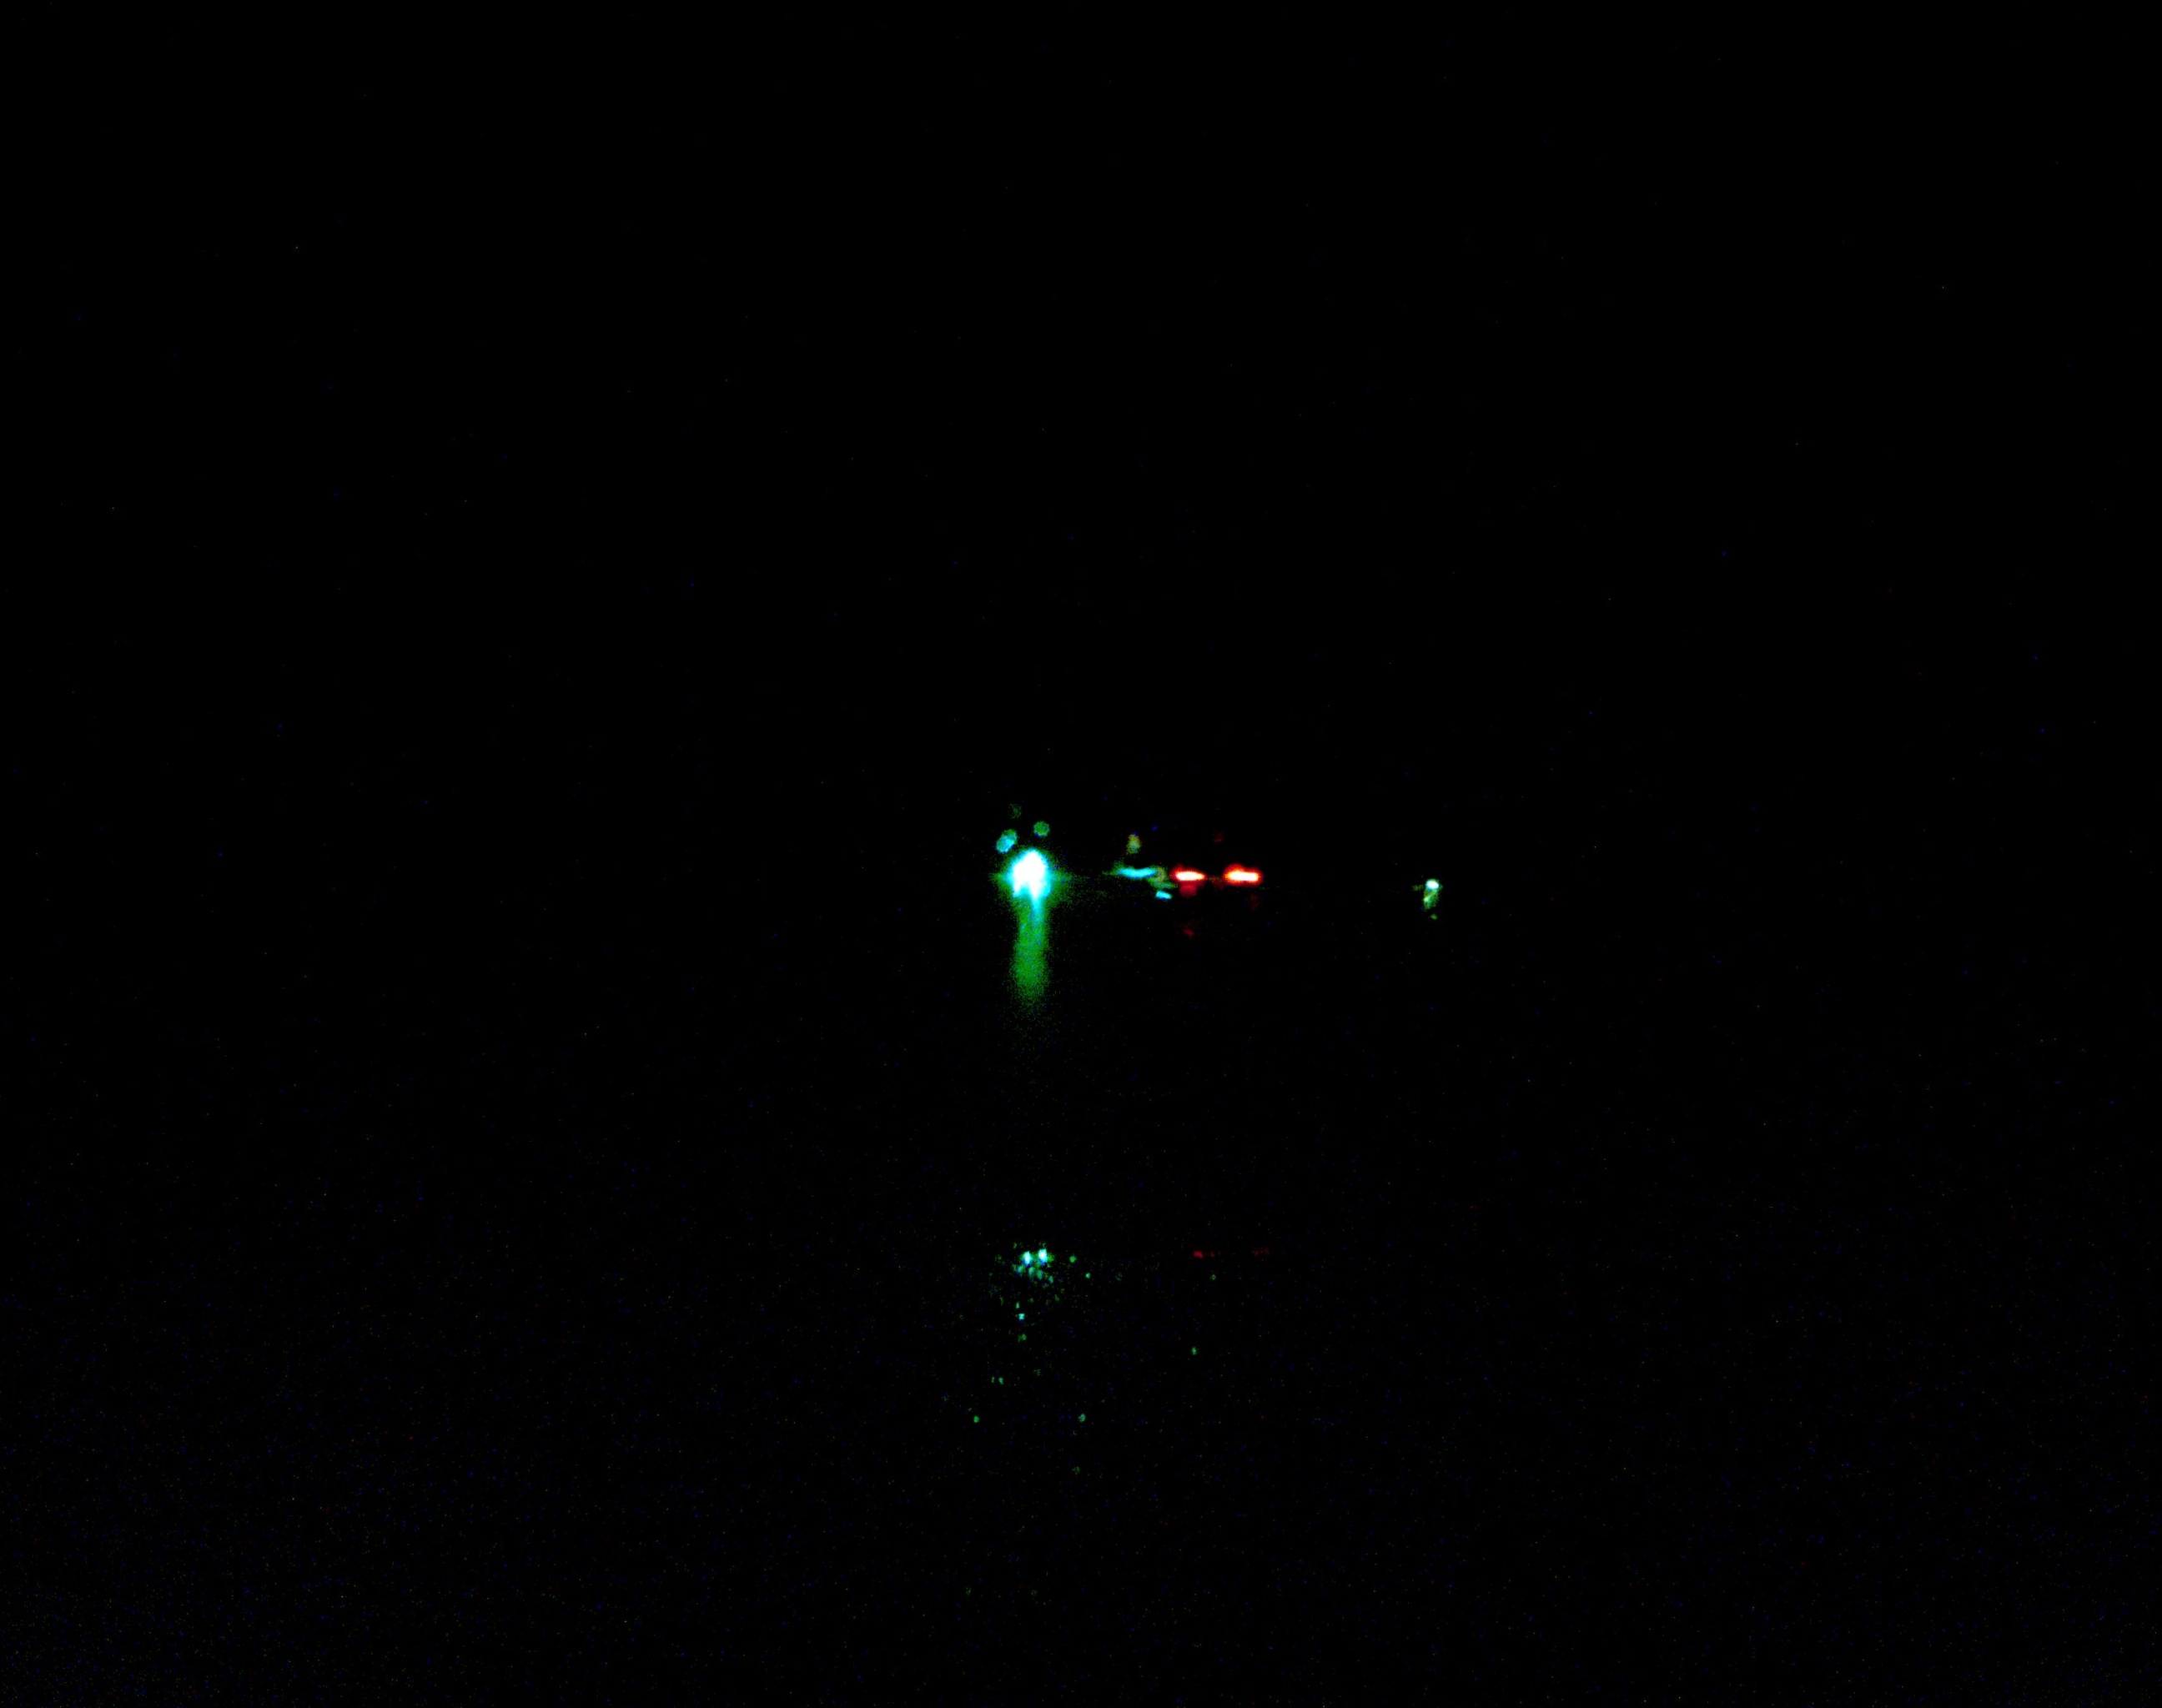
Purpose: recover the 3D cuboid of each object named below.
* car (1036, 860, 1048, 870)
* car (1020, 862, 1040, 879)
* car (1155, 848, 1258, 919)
[{"bbox_3d":[-7.416,2.060,143.341,1.999,1.814,4.561,0,0,-5],"label":"car"},{"bbox_3d":[-5.627,1.809,83.985,1.999,1.724,3.999,4,-1,-5],"label":"car"},{"bbox_3d":[3.325,0.710,21.100,1.999,1.683,4.696,-1,1,-1],"label":"car"}]
